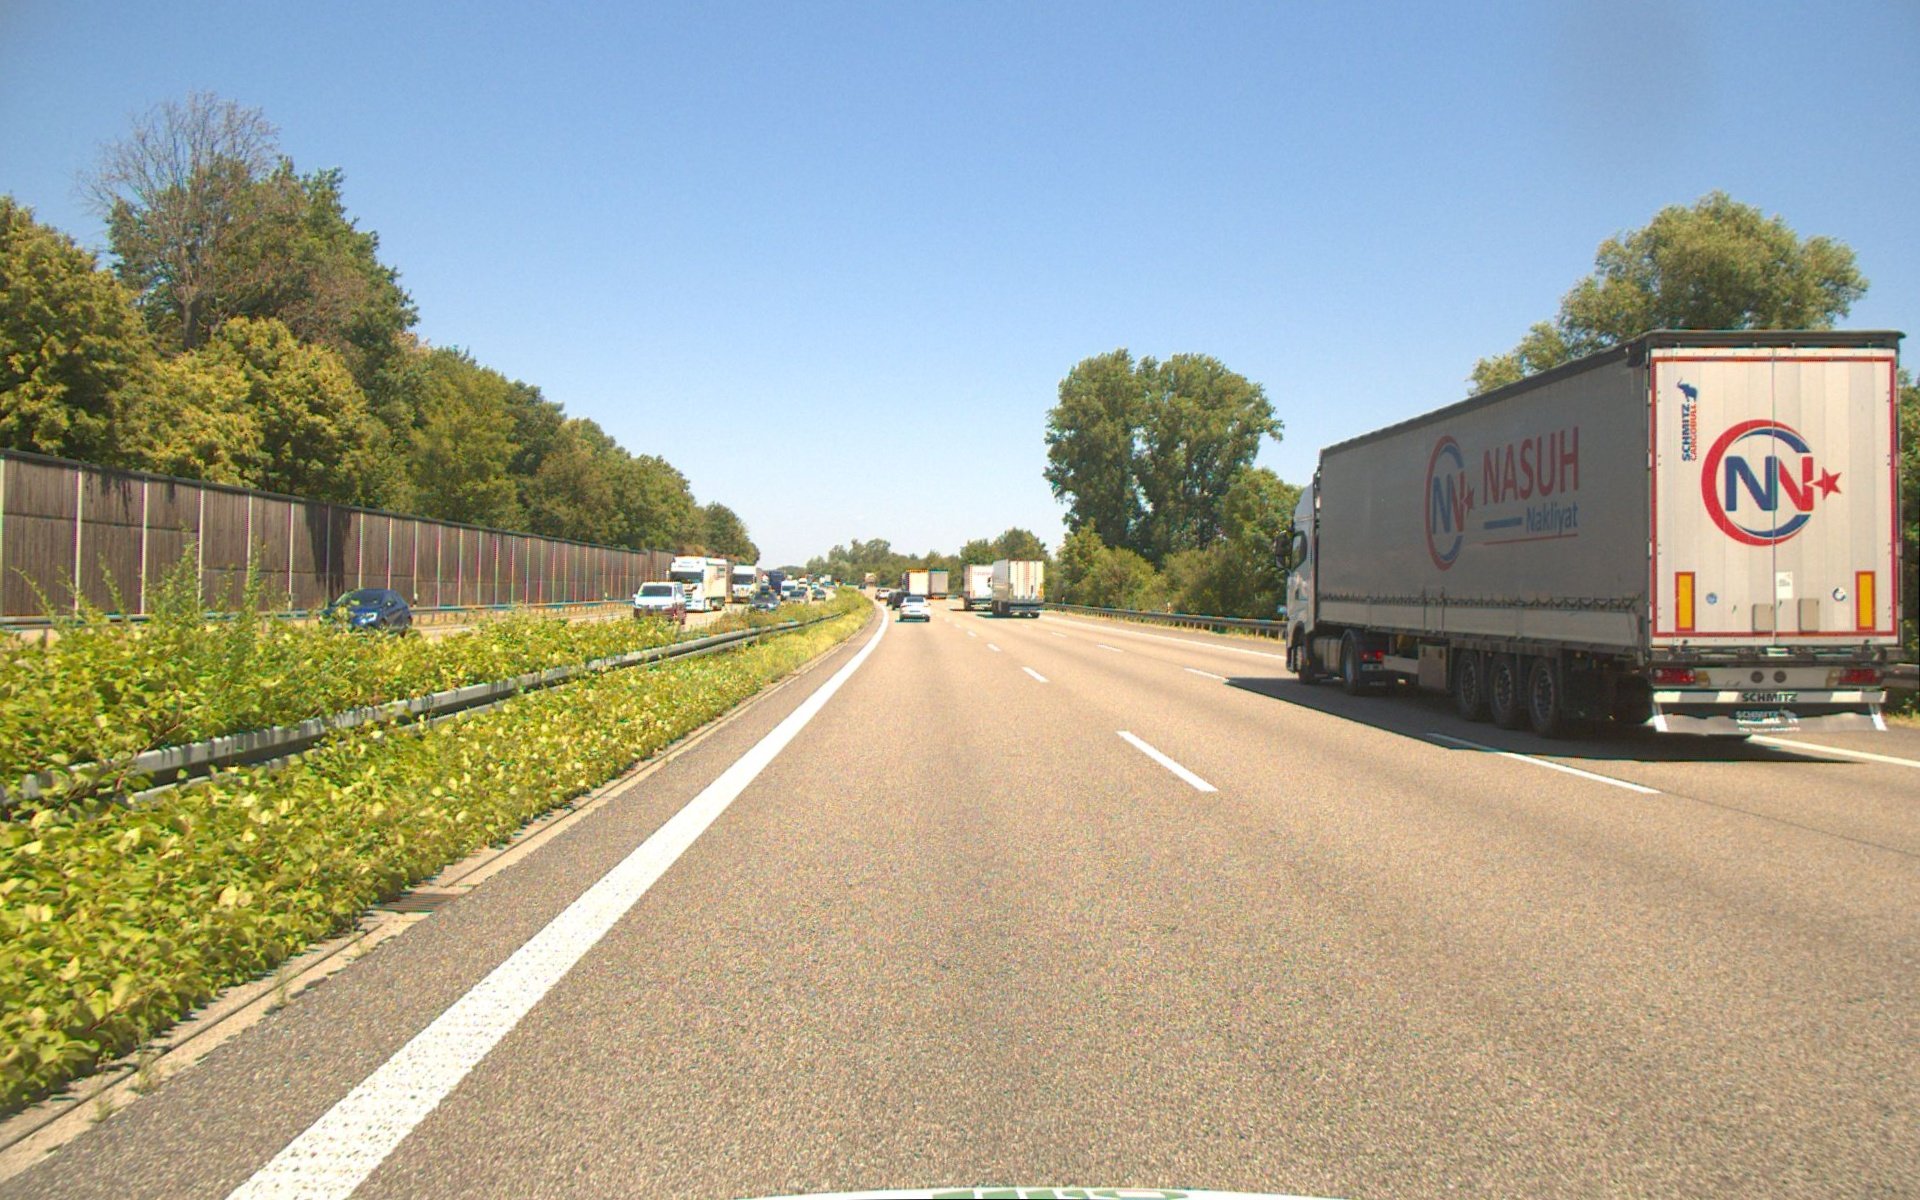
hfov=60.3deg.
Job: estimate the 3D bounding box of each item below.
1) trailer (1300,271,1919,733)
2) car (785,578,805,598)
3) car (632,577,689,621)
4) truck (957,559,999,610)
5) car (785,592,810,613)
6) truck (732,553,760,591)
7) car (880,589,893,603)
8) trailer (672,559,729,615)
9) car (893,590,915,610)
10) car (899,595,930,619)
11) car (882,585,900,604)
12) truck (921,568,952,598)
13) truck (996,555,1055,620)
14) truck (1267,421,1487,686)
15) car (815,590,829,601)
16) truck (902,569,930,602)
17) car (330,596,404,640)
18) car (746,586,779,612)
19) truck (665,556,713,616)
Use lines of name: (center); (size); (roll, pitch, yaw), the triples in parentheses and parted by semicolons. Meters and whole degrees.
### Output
trailer: (7.649, -0.915, 22.674); (2.571, 4.335, 14.054); (1, 0, -2)
car: (-20.561, -1.451, 206.329); (2.038, 2.443, 6.040); (0, 0, -2)
car: (-13.954, -0.044, 77.276); (1.887, 1.979, 4.607); (0, 0, -2)
truck: (1.576, -1.372, 150.896); (3.292, 4.386, 10.824); (1, 0, -2)
car: (-13.126, 0.189, 133.891); (1.730, 1.680, 4.037); (0, 0, -2)
truck: (-23.746, -3.067, 183.552); (2.452, 4.126, 6.359); (0, 0, -2)
car: (-10.078, -0.575, 226.166); (1.689, 1.814, 3.998); (0, 0, -2)
trailer: (-20.239, -0.969, 129.936); (2.699, 4.146, 14.382); (1, 0, -2)
car: (-5.087, -0.017, 150.876); (1.954, 1.803, 3.998); (0, 0, -3)
car: (-2.697, 0.424, 98.249); (1.680, 1.393, 3.375); (0, 0, 1)
car: (-7.476, -0.586, 180.135); (1.953, 2.049, 3.998); (0, 0, -2)
truck: (-3.638, -2.553, 251.058); (3.755, 4.386, 11.541); (1, 0, -5)
truck: (4.592, -0.839, 118.346); (3.422, 4.386, 10.984); (1, 0, -2)
truck: (7.418, -0.774, 30.110); (2.553, 4.362, 5.435); (1, 0, -1)
car: (-17.780, -0.558, 213.055); (1.725, 1.453, 3.933); (0, 0, -3)
truck: (-6.142, -1.927, 228.693); (3.509, 4.386, 12.181); (1, 0, -4)
car: (-17.696, 0.525, 49.446); (1.254, 1.277, 3.027); (0, 0, -3)
car: (-12.054, -0.086, 101.203); (1.678, 1.570, 4.359); (0, 0, -3)
truck: (-19.932, -1.026, 121.979); (2.675, 4.266, 6.033); (1, 0, -2)
